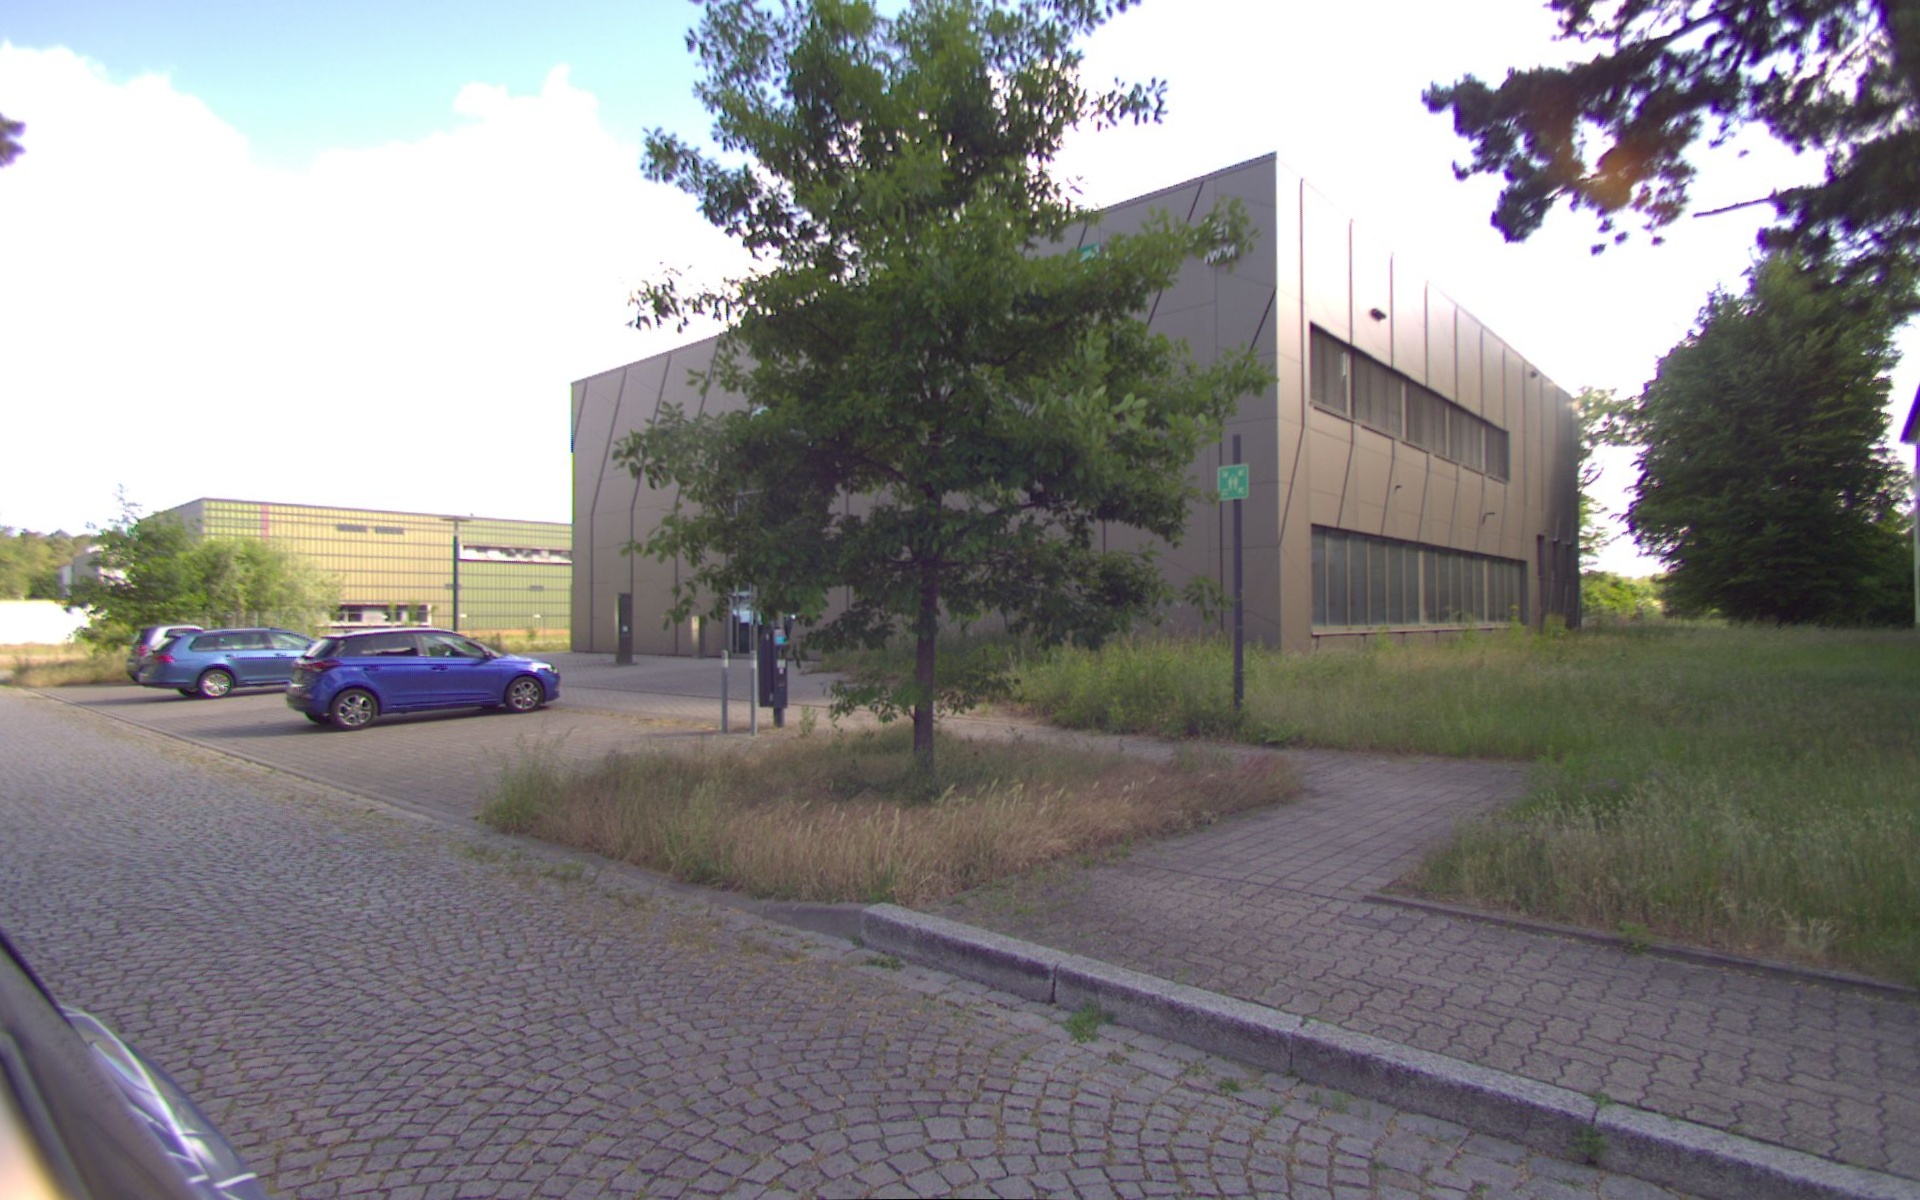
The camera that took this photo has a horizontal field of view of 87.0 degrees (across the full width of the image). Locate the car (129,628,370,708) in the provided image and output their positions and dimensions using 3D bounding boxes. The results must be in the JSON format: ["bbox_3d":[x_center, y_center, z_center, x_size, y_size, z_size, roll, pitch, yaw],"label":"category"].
[{"bbox_3d":[-15.858,1.445,22.755,1.733,1.485,4.127,-2,-1,39],"label":"car"}]

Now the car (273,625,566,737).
[{"bbox_3d":[-8.713,1.218,16.528,1.735,1.479,3.865,-2,-1,44],"label":"car"}]

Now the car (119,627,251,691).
[{"bbox_3d":[-21.251,1.569,27.808,1.480,1.580,2.619,-2,-1,40],"label":"car"}]
